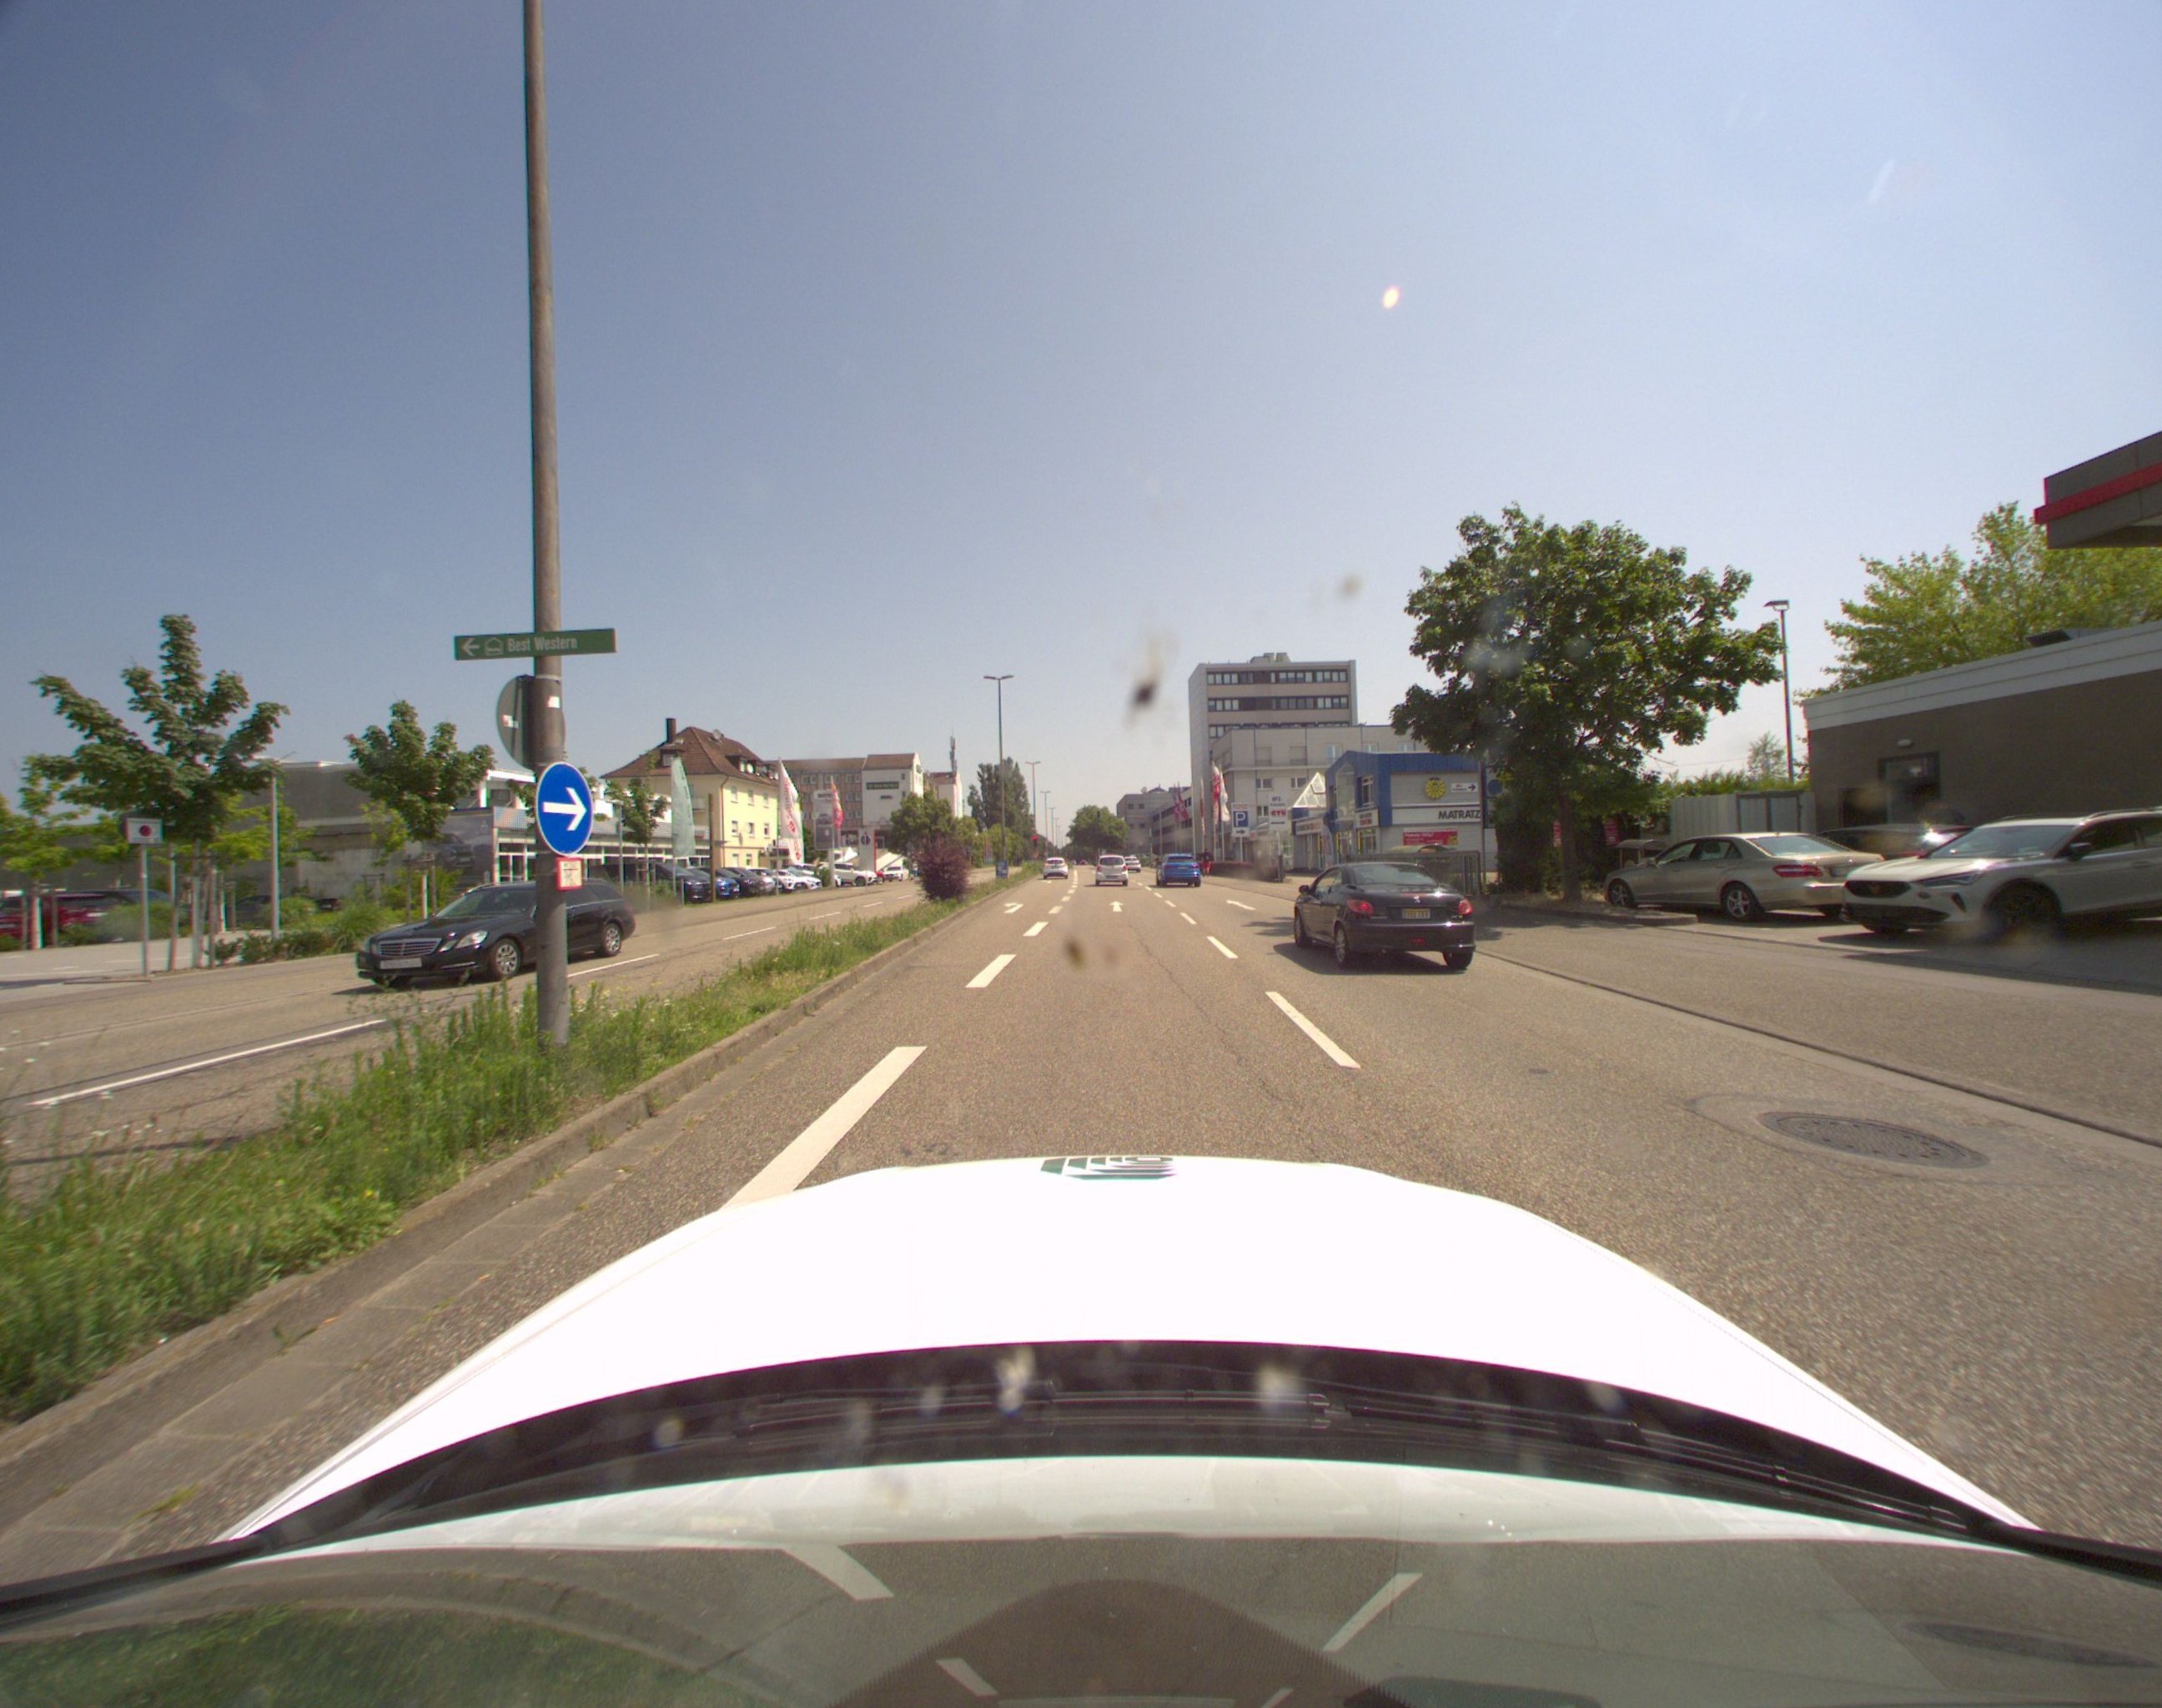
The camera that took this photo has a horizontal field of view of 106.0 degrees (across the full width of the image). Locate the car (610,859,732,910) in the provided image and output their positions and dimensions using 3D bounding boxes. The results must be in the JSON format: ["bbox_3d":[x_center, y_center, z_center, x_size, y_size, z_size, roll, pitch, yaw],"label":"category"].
[{"bbox_3d":[-17.103,1.247,34.126,3.977,1.882,1.998,-2,0,-3],"label":"car"}]

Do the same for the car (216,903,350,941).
[{"bbox_3d":[-32.095,2.714,32.823,3.699,1.245,1.650,-2,0,0],"label":"car"}]

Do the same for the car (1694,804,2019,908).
[{"bbox_3d":[14.102,0.035,15.250,1.896,1.536,4.249,-4,0,-2],"label":"car"}]

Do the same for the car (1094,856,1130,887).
[{"bbox_3d":[1.532,0.852,41.865,1.742,1.520,3.746,-1,0,1],"label":"car"}]

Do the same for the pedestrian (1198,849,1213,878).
[{"bbox_3d":[7.930,0.600,52.025,0.782,1.847,0.936,-2,0,2],"label":"pedestrian"}]

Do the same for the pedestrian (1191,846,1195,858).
[{"bbox_3d":[15.864,-0.305,115.431,0.589,1.634,0.524,-3,0,7],"label":"pedestrian"}]

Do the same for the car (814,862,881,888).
[{"bbox_3d":[-17.710,1.572,61.823,4.535,1.709,1.758,-2,0,-3],"label":"car"}]

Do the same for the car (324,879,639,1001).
[{"bbox_3d":[-9.570,1.262,13.632,1.823,1.461,4.709,-3,0,-2],"label":"car"}]

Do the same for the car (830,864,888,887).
[{"bbox_3d":[-17.970,1.751,66.045,1.816,1.642,4.205,-2,0,37],"label":"car"}]

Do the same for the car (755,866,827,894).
[{"bbox_3d":[-18.745,1.651,52.728,4.016,1.624,1.741,-2,0,-34],"label":"car"}]

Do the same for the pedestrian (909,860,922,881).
[{"bbox_3d":[-14.032,1.395,69.080,0.738,1.747,1.034,-2,0,2],"label":"pedestrian"}]

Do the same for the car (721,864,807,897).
[{"bbox_3d":[-17.670,1.467,45.511,3.977,1.608,1.924,-2,0,-3],"label":"car"}]

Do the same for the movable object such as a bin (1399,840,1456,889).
[{"bbox_3d":[10.894,0.322,25.674,1.127,1.470,1.489,-2,0,0],"label":"movable object such as a bin"}]

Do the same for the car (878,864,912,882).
[{"bbox_3d":[-16.874,1.715,74.200,1.769,1.410,4.761,-2,0,2],"label":"car"}]

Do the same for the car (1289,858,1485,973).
[{"bbox_3d":[4.175,0.757,11.691,1.620,1.364,3.608,-1,0,3],"label":"car"}]

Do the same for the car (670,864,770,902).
[{"bbox_3d":[-17.322,1.384,39.228,3.977,1.608,1.758,-2,0,-3],"label":"car"}]

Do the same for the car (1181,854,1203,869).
[{"bbox_3d":[12.075,0.819,88.712,1.838,1.531,4.195,0,0,0],"label":"car"}]

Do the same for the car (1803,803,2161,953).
[{"bbox_3d":[12.503,0.233,10.499,4.606,1.527,1.907,-4,0,1],"label":"car"}]

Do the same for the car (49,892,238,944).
[{"bbox_3d":[-31.884,2.156,27.817,3.981,1.453,1.875,-2,0,-5],"label":"car"}]

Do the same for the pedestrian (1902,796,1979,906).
[{"bbox_3d":[16.213,-0.049,15.386,0.696,2.014,0.824,0,0,19],"label":"pedestrian"}]

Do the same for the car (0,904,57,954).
[{"bbox_3d":[-32.278,2.212,23.047,3.979,1.314,1.844,-2,0,-4],"label":"car"}]

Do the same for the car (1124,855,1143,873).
[{"bbox_3d":[4.659,0.839,73.163,1.553,1.520,3.607,-2,0,2],"label":"car"}]

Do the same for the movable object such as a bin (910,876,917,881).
[{"bbox_3d":[-14.101,2.089,68.643,0.415,0.372,0.506,-2,0,0],"label":"movable object such as a bin"}]

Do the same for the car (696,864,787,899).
[{"bbox_3d":[-17.635,1.411,42.435,3.977,1.568,1.758,-2,0,-3],"label":"car"}]

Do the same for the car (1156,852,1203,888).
[{"bbox_3d":[4.683,0.744,39.286,1.822,1.580,3.605,-2,0,0],"label":"car"}]

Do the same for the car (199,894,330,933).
[{"bbox_3d":[-30.692,2.221,30.641,3.507,1.224,1.731,-2,0,10],"label":"car"}]

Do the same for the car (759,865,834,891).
[{"bbox_3d":[-17.642,1.476,50.557,3.977,1.467,1.758,-2,0,-3],"label":"car"}]

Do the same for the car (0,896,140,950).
[{"bbox_3d":[-32.588,2.171,25.406,3.981,1.453,1.875,-2,0,-5],"label":"car"}]

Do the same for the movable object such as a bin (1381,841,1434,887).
[{"bbox_3d":[10.898,0.329,27.279,1.127,1.470,1.489,-2,0,0],"label":"movable object such as a bin"}]

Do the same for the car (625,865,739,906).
[{"bbox_3d":[-17.615,1.378,36.123,3.977,1.608,2.087,-2,0,-3],"label":"car"}]

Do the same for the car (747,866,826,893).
[{"bbox_3d":[-17.442,1.473,48.321,3.977,1.394,1.858,-2,0,-3],"label":"car"}]

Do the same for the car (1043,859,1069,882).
[{"bbox_3d":[-1.732,1.130,56.794,1.683,1.434,3.710,-2,0,0],"label":"car"}]

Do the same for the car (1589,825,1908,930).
[{"bbox_3d":[11.635,0.362,14.737,1.789,1.466,4.634,-4,0,-2],"label":"car"}]
